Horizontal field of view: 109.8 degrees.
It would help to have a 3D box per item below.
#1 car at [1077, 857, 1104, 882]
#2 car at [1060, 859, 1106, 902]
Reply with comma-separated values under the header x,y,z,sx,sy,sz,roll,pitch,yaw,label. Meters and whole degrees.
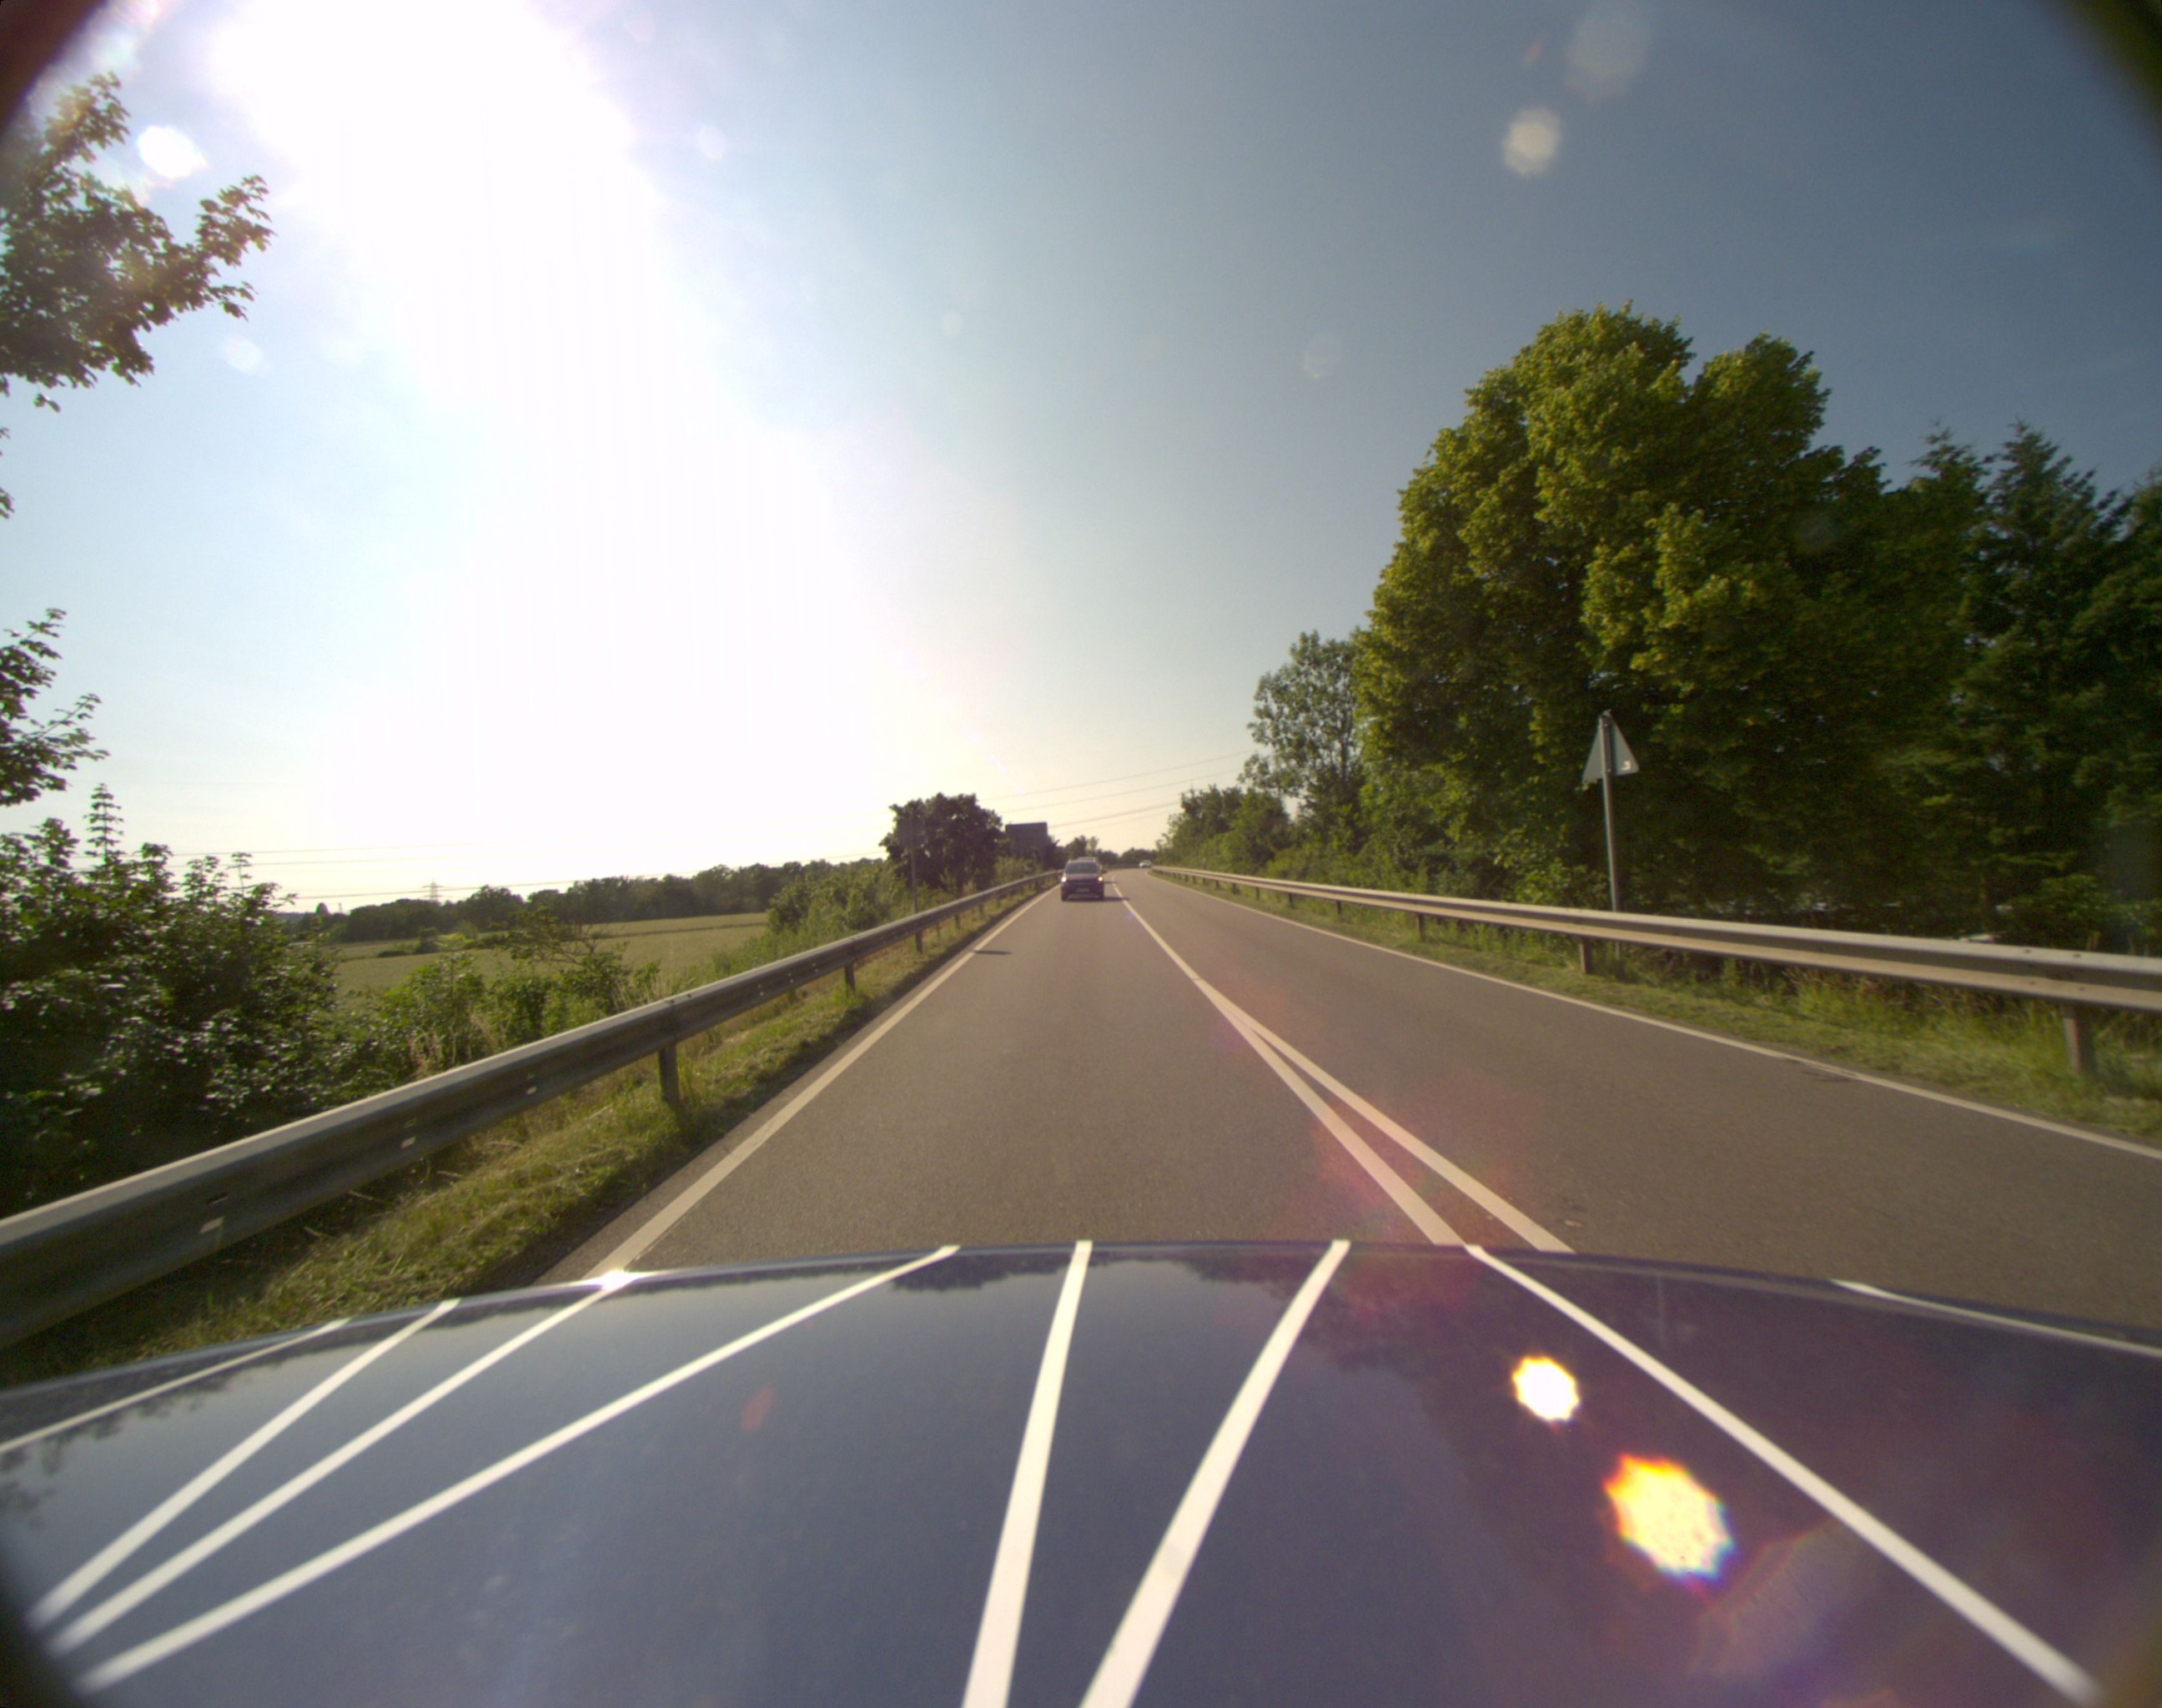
x,y,z,sx,sy,sz,roll,pitch,yaw,label
0.672,1.024,51.119,1.606,1.486,4.000,-2,0,2,car
0.070,0.985,29.640,1.607,1.486,4.000,-2,0,0,car
